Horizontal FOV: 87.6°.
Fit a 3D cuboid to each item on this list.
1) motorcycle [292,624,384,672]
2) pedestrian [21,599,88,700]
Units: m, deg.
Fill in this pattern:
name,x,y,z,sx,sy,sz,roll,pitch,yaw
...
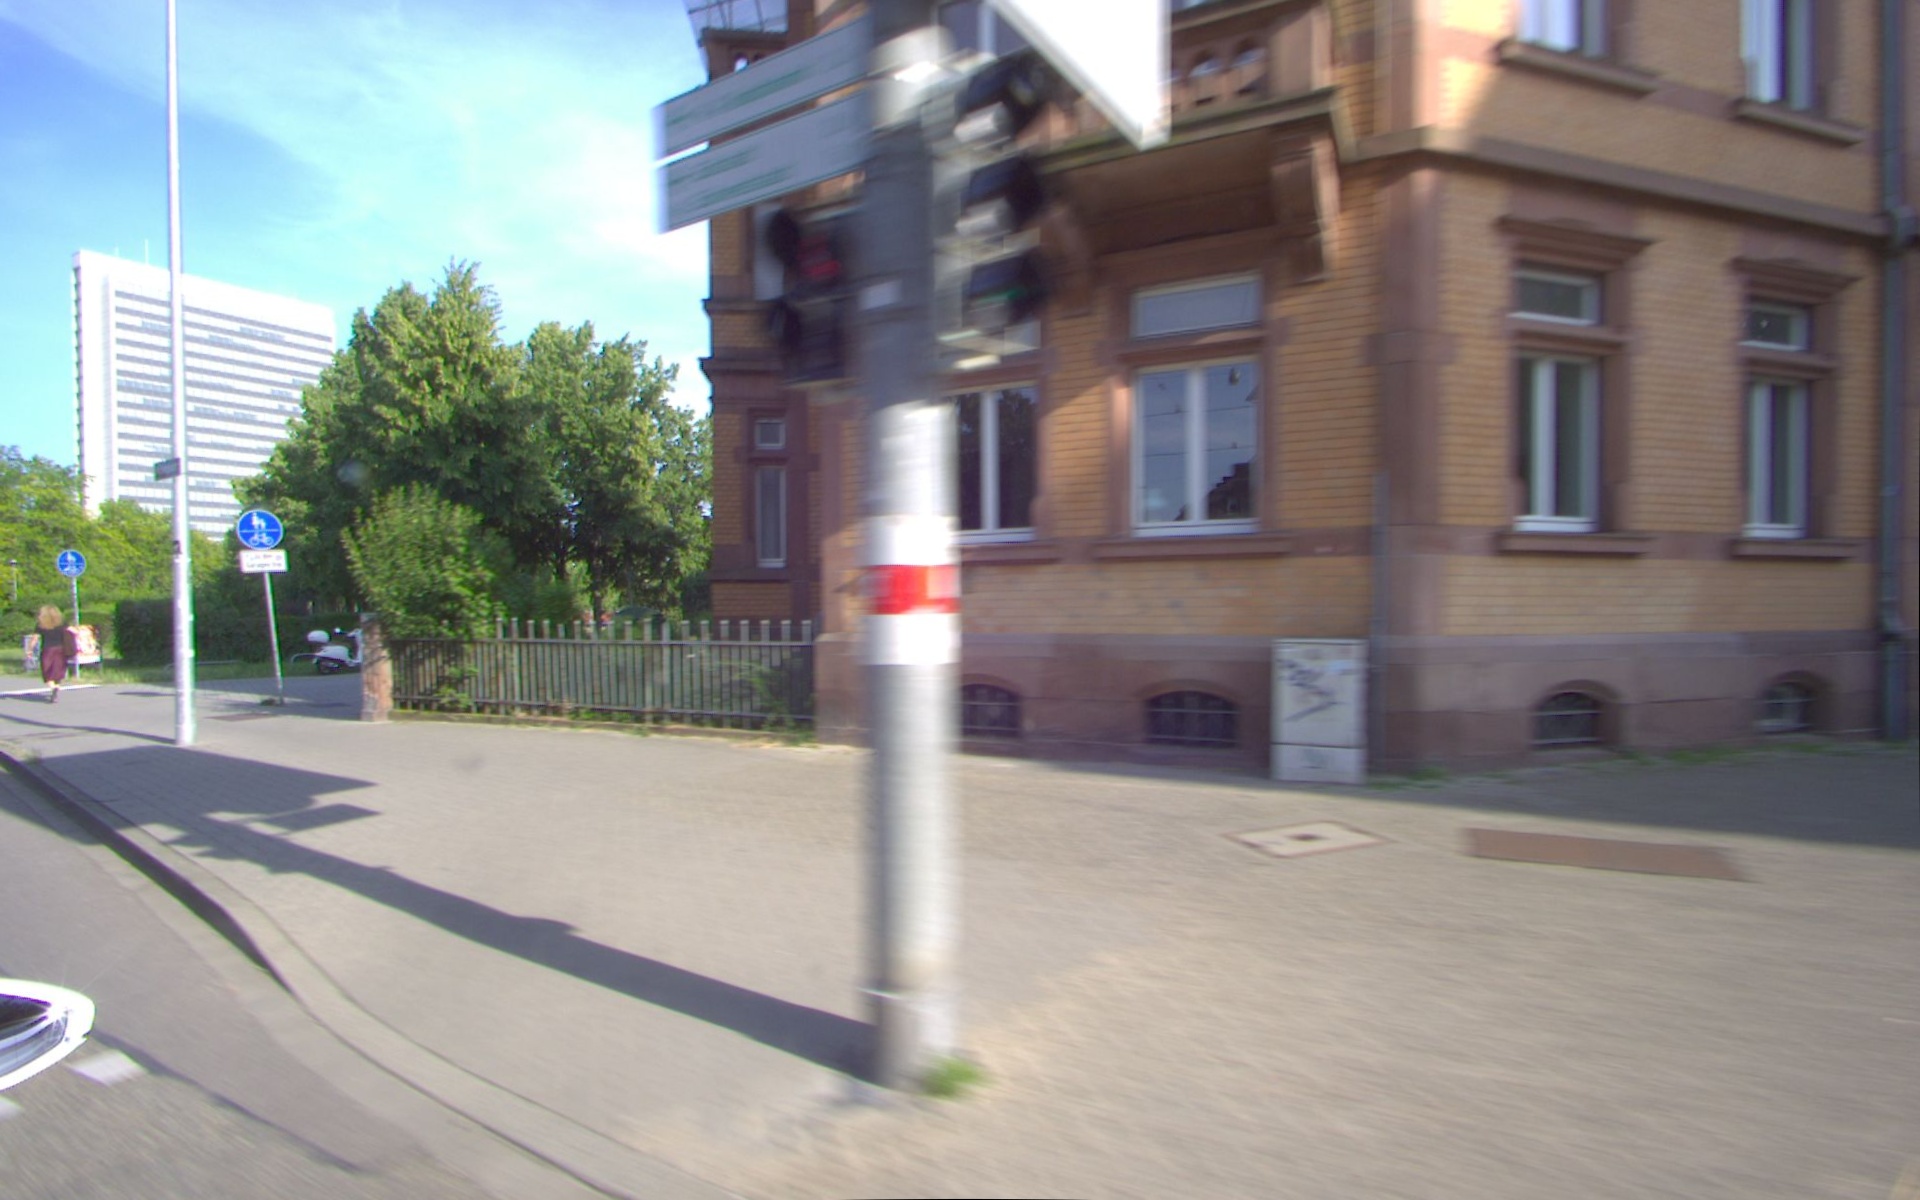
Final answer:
name,x,y,z,sx,sy,sz,roll,pitch,yaw
motorcycle,-15.988,1.205,25.787,0.695,1.175,1.999,0,-1,20
pedestrian,-16.017,0.867,17.723,0.540,1.716,0.613,0,5,30
